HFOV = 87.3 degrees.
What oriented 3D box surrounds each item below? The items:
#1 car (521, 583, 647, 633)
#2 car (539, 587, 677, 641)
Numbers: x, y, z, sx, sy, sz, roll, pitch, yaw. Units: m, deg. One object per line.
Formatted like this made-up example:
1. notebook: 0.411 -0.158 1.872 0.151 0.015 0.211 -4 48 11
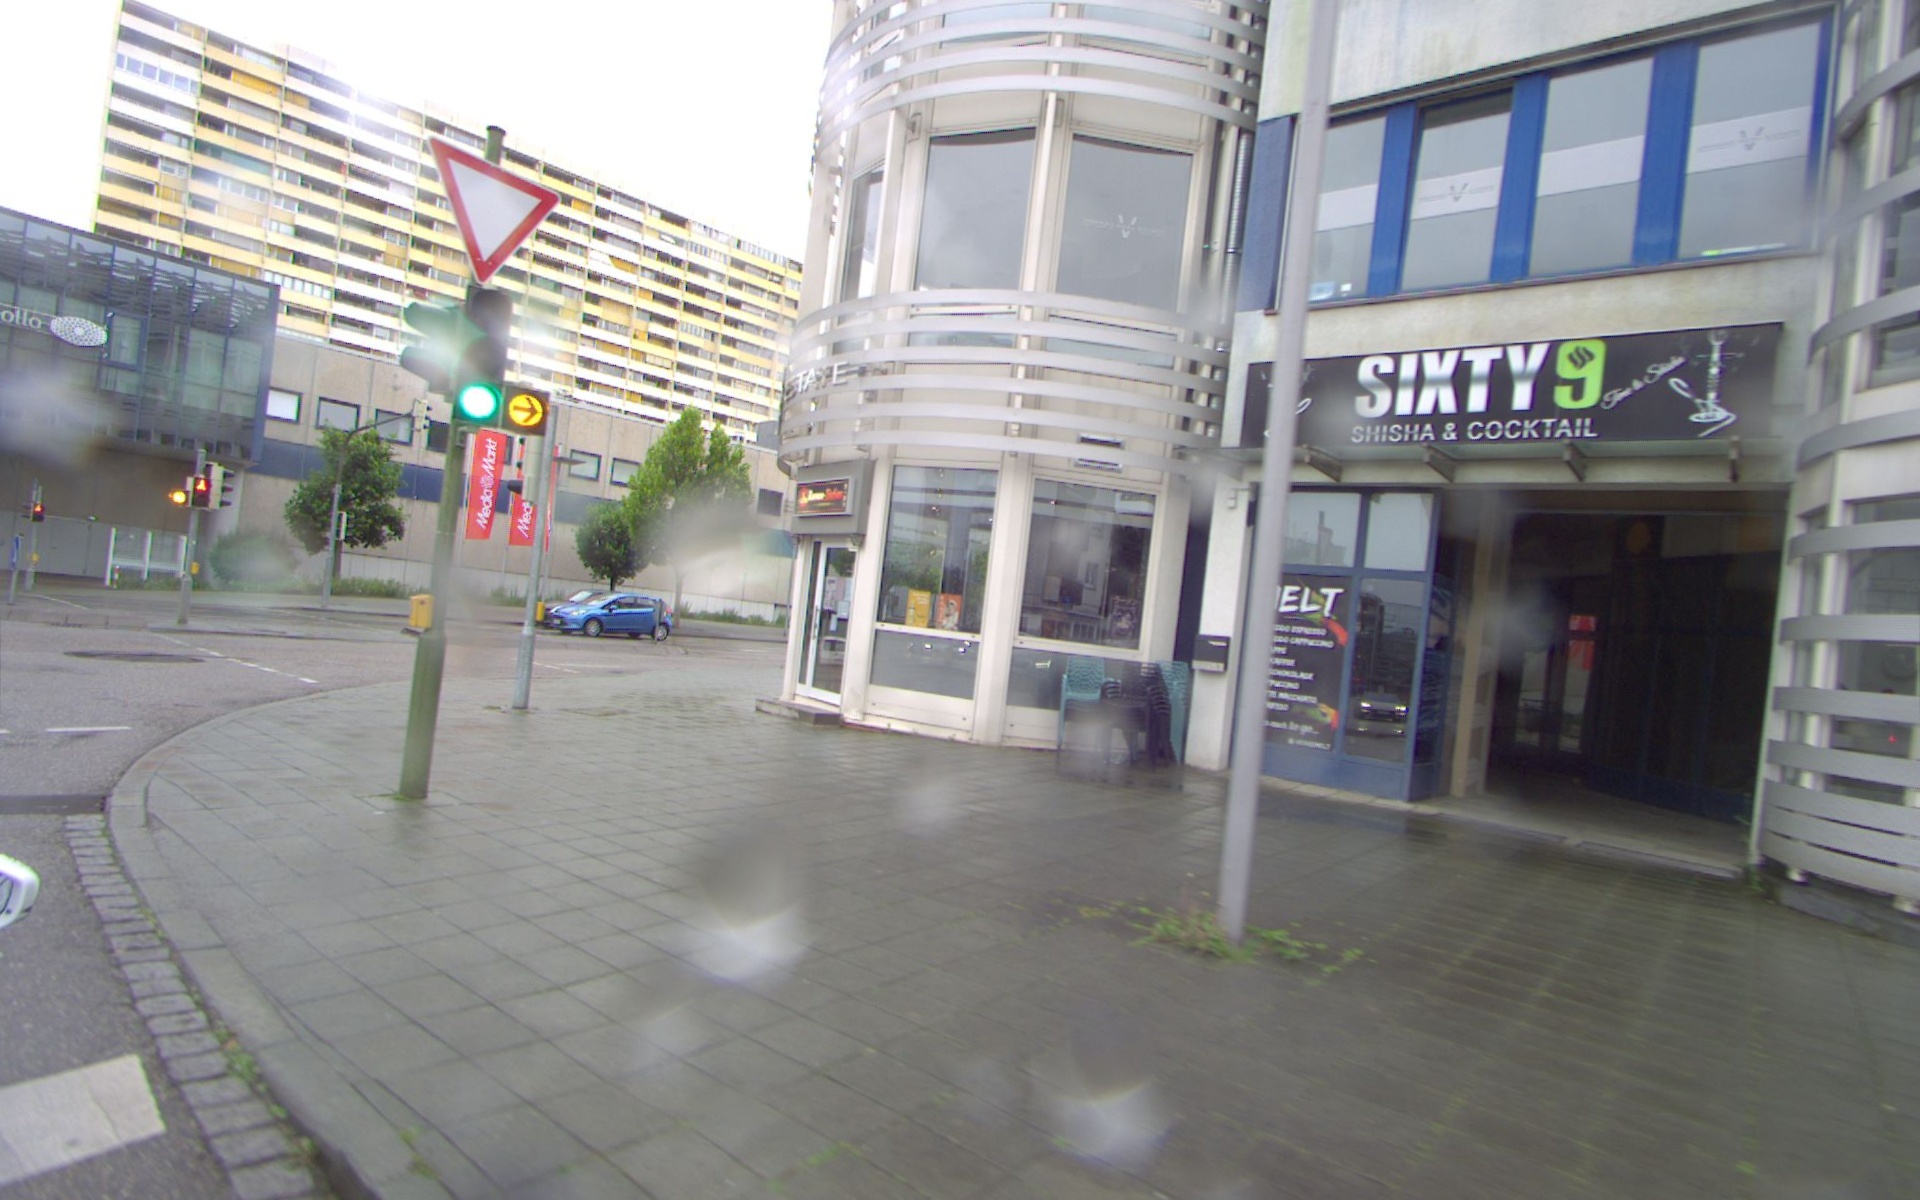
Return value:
1. car: -13.027 0.301 35.027 1.720 1.412 3.679 5 -1 40
2. car: -11.288 0.492 32.412 1.655 1.414 3.838 5 -1 39
